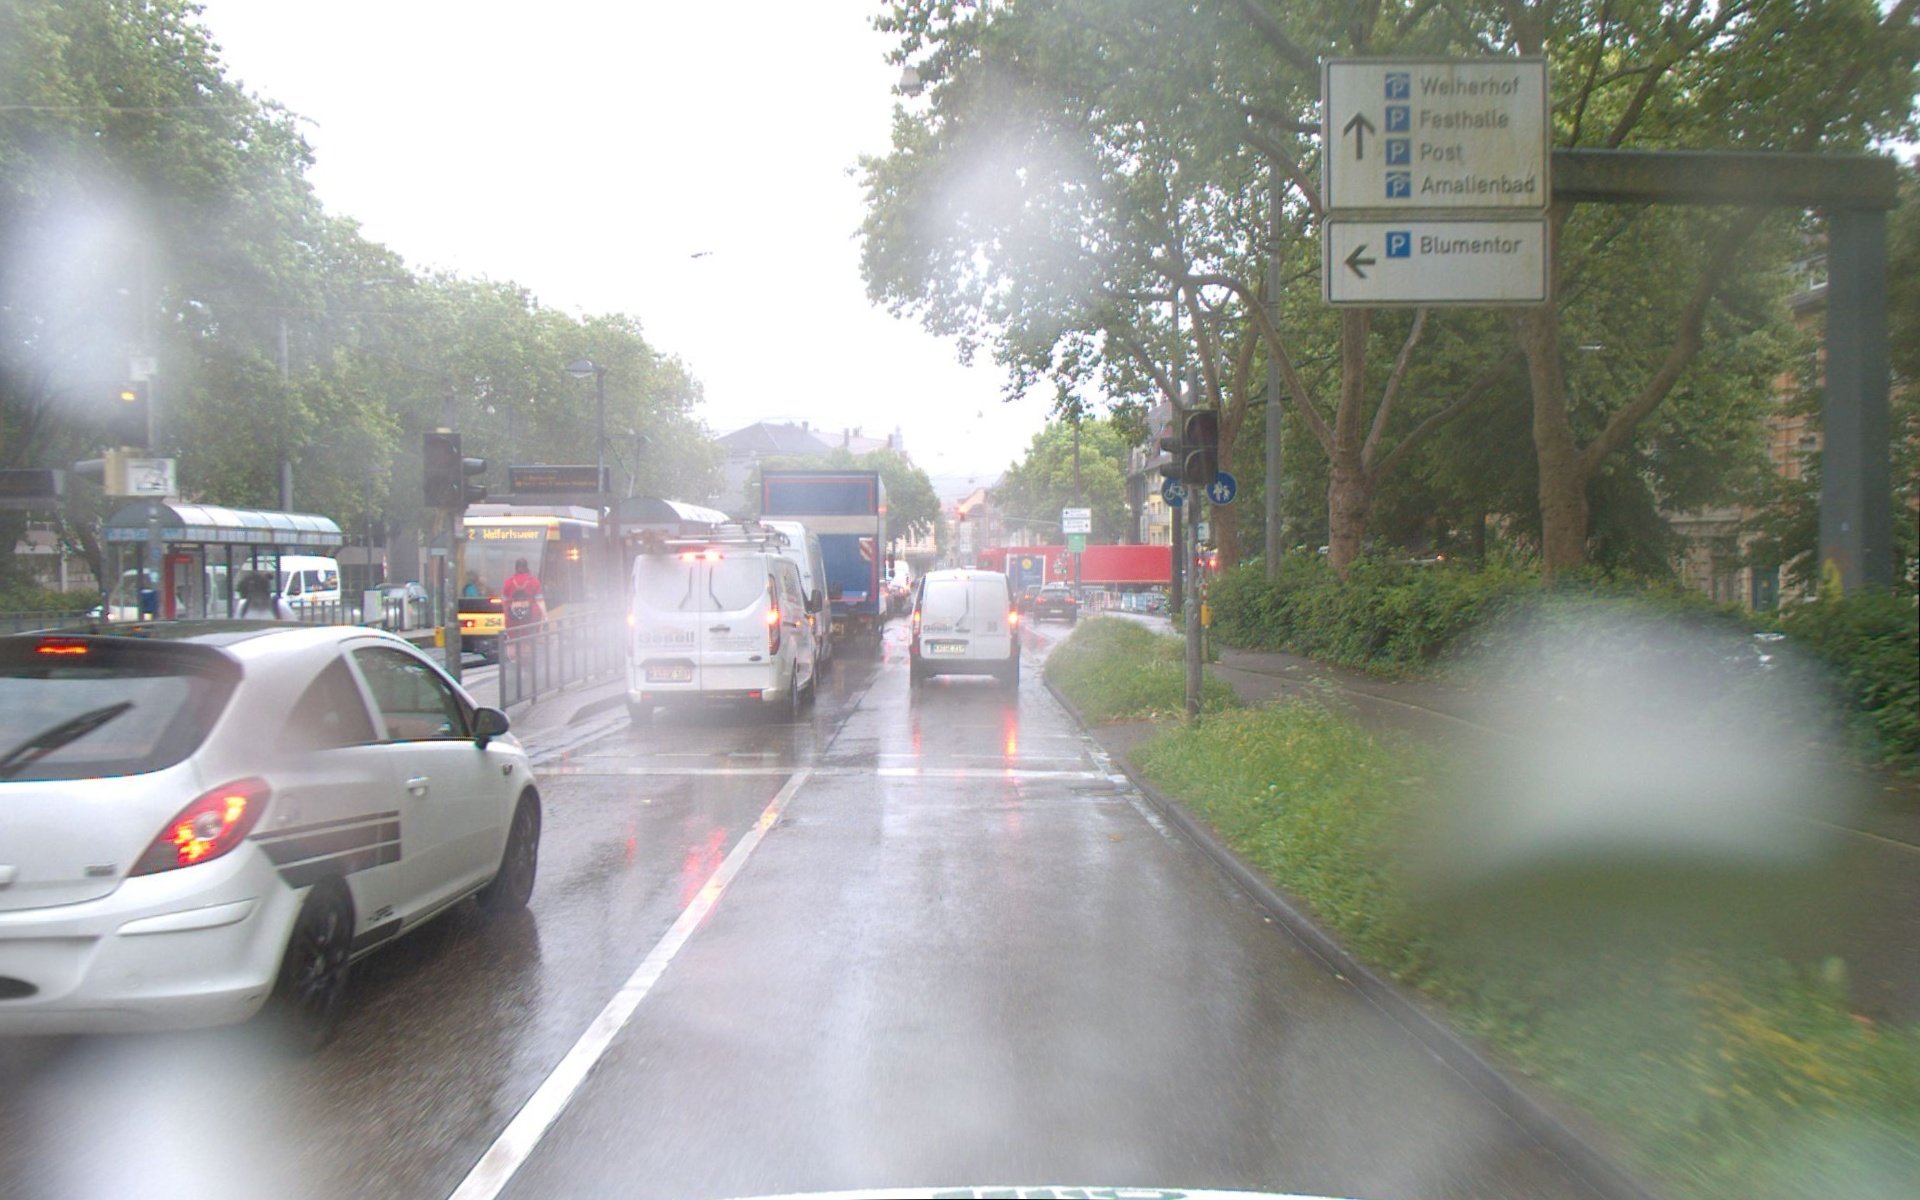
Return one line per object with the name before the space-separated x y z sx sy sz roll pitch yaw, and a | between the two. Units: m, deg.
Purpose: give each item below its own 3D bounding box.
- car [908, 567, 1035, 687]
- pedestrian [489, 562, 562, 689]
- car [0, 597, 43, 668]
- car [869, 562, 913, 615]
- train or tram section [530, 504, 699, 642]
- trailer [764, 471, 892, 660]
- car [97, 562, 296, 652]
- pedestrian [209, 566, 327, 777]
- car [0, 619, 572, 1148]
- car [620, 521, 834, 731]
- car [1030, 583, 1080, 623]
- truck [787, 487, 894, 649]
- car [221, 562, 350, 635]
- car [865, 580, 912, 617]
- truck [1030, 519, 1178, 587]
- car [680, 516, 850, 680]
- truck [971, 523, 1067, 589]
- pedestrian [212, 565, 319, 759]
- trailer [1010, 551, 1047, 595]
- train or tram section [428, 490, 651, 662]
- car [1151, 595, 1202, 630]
car | 0.164 0.420 26.693 1.919 1.808 3.569 0 0 0
pedestrian | -6.143 0.358 23.423 0.774 1.744 0.770 2 -1 -1
car | -22.097 0.744 36.071 1.894 1.544 4.000 -1 1 0
car | -3.333 -0.566 81.167 1.953 2.484 4.611 1 0 -1
train or tram section | -9.294 -0.781 45.488 2.918 3.342 8.430 -2 1 -1
trailer | -2.915 -0.763 38.506 2.538 3.968 7.634 0 1 -1
car | -18.829 0.152 41.190 2.139 2.049 6.114 0 0 0
pedestrian | -6.010 0.604 14.397 0.701 1.775 0.750 0 0 -1
car | -2.852 0.838 6.670 1.690 1.505 3.805 0 0 0
car | -2.763 0.304 20.842 1.953 2.302 5.288 0 0 0
car | 3.877 0.090 67.457 1.952 1.569 4.002 0 0 4
truck | -3.019 -0.814 42.595 2.528 3.972 3.999 0 1 -1
car | -22.110 -0.090 54.491 1.952 2.262 5.226 0 1 2
car | -3.248 -0.083 75.648 1.953 1.606 4.291 1 0 -1
truck | 11.434 -3.705 131.277 11.124 4.985 3.291 -1 1 17
car | -3.293 -0.010 29.261 2.282 2.602 6.114 0 0 0
truck | 4.808 -3.531 133.386 7.006 4.985 3.291 -1 1 17
pedestrian | -6.538 0.567 15.601 0.663 1.769 0.807 0 0 -1
trailer | 3.897 -1.494 93.061 1.951 2.357 4.671 0 0 4
train or tram section | -9.140 -0.578 37.089 2.901 3.342 8.359 -2 1 -1
car | 10.588 0.582 81.076 1.786 1.516 4.352 -2 1 -1
